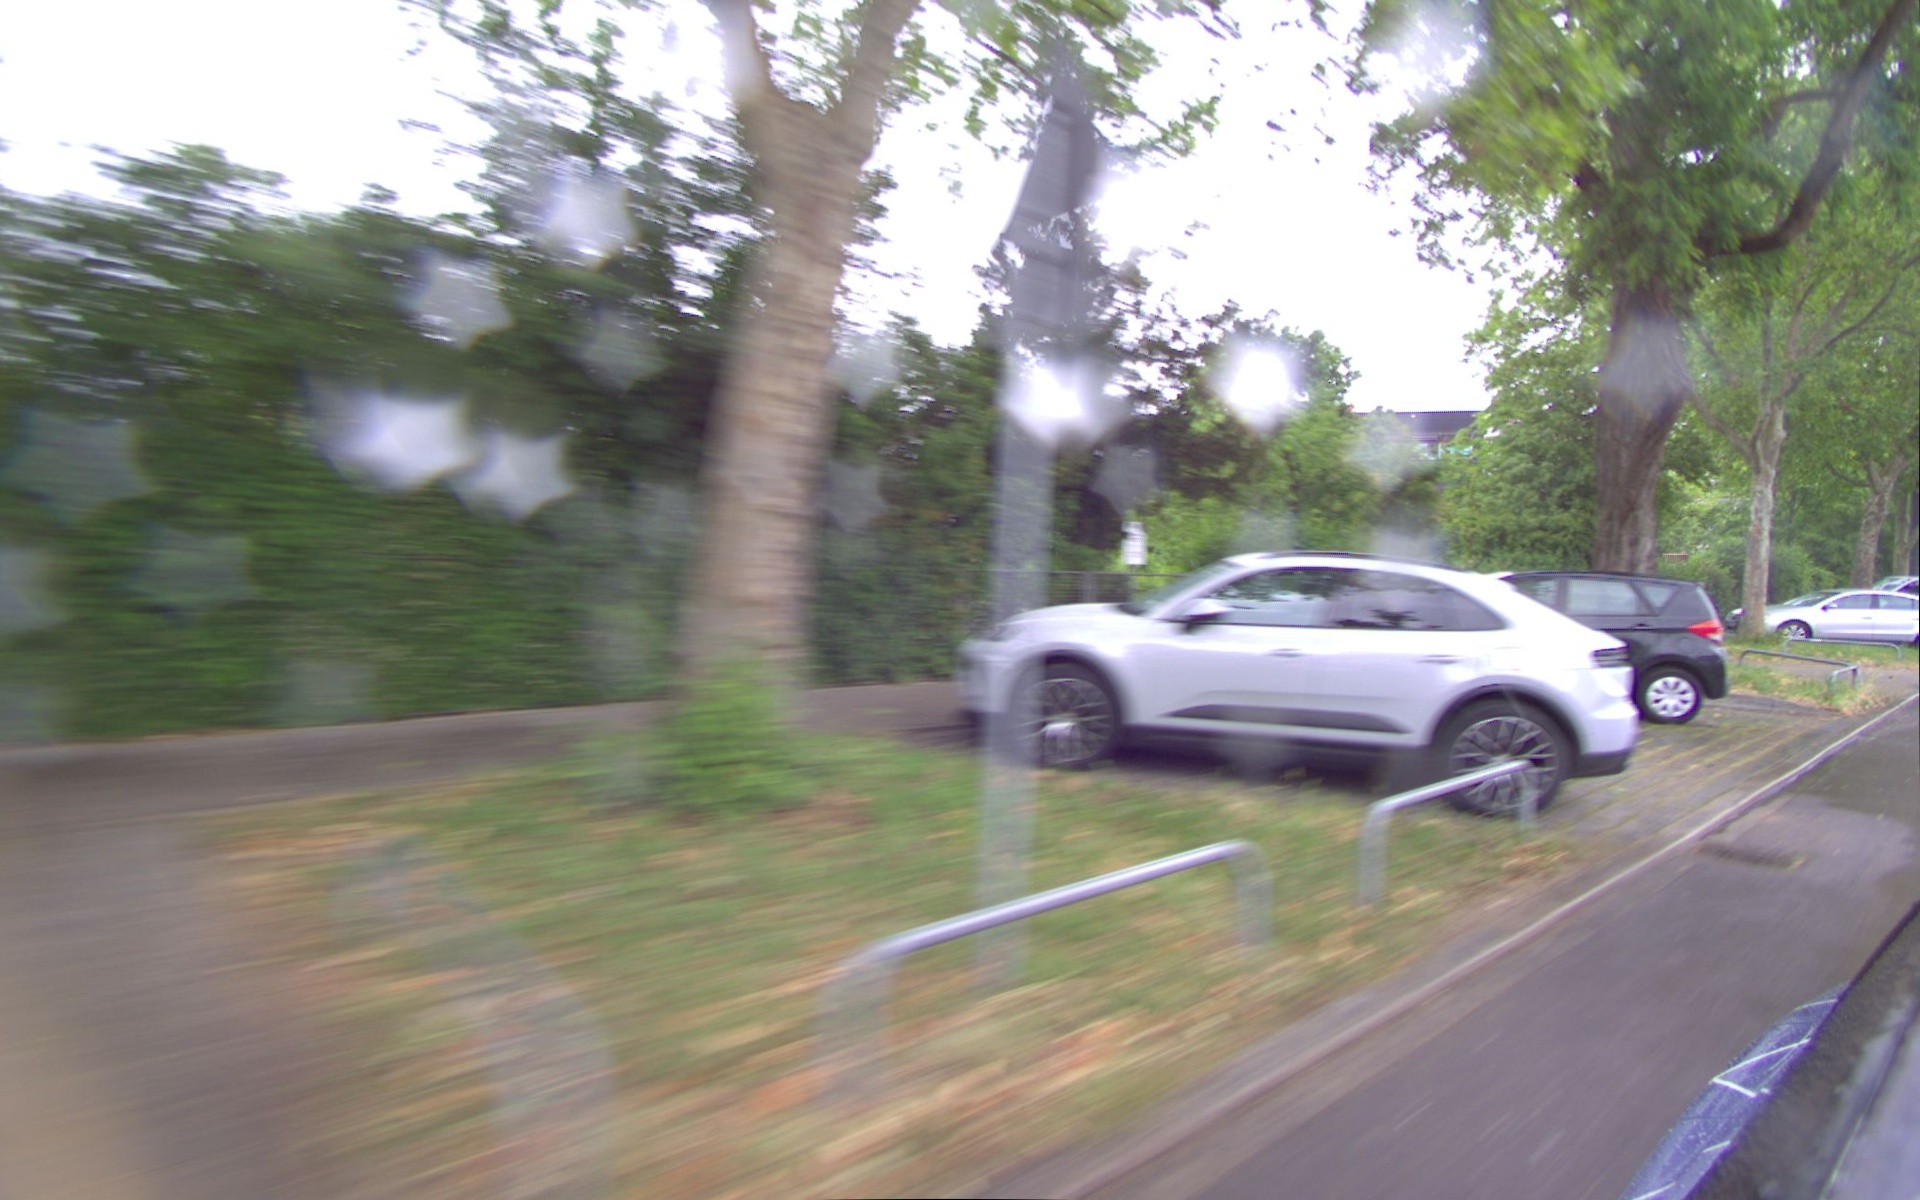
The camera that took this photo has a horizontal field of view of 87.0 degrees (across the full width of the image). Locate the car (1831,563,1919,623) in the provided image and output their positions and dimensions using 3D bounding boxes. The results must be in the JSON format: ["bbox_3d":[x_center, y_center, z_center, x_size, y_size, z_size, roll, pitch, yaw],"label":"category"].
[{"bbox_3d":[34.988,-0.180,36.452,4.958,2.038,1.991,4,2,15],"label":"car"}]

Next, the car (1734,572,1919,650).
[{"bbox_3d":[21.378,0.278,23.817,4.501,1.563,1.877,5,3,18],"label":"car"}]

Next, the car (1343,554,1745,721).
[{"bbox_3d":[6.482,0.336,11.696,3.665,1.585,1.611,3,2,17],"label":"car"}]

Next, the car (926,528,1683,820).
[{"bbox_3d":[2.272,0.376,7.656,4.704,1.688,1.987,2,2,14],"label":"car"}]
